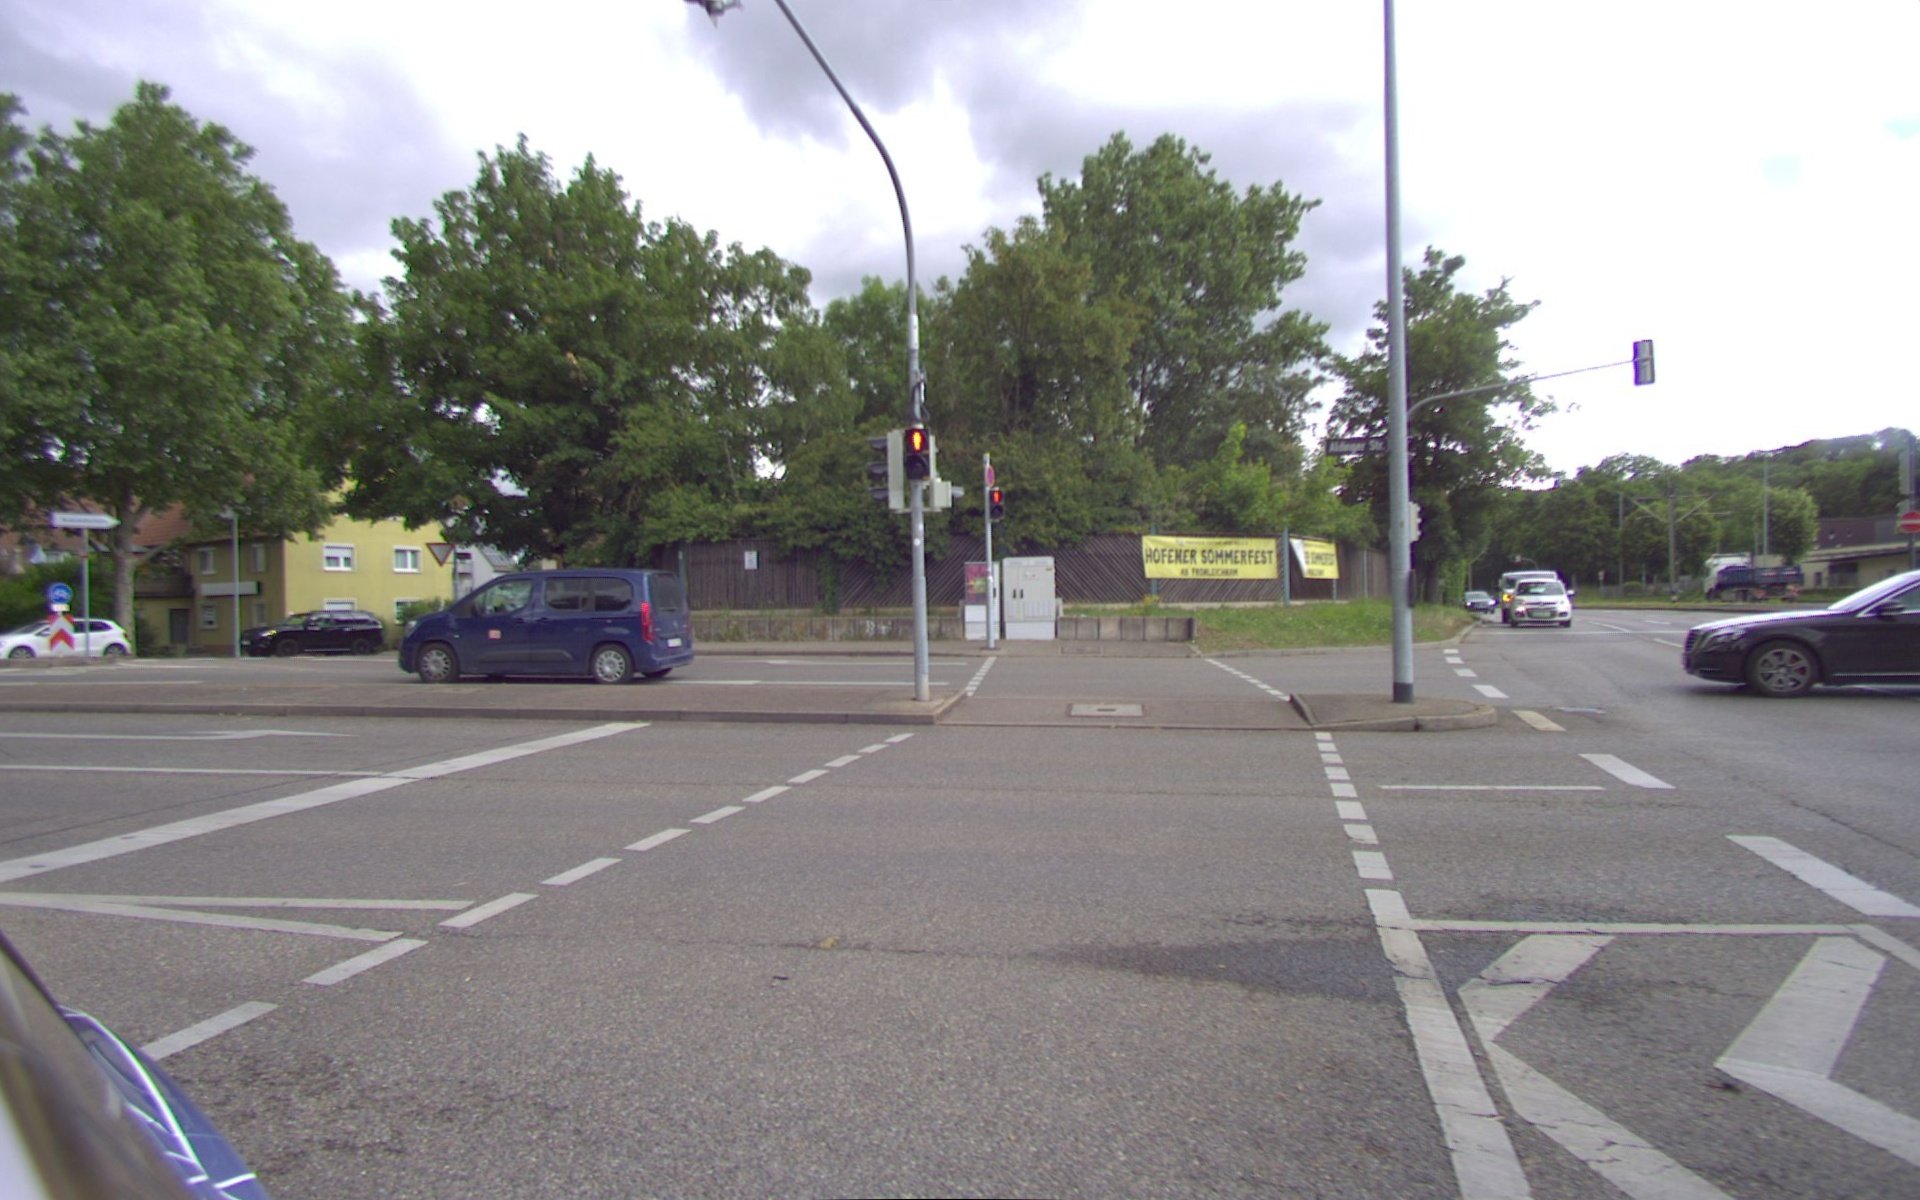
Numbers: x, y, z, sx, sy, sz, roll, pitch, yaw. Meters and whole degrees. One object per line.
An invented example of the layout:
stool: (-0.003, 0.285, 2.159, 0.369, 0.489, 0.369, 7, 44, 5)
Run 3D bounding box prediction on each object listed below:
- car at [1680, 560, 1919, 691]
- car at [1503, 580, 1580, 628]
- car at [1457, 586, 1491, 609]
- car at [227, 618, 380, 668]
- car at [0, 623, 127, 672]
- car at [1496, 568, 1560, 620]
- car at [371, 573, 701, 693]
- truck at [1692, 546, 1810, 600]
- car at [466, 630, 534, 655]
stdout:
car: (11.513, 0.261, 11.764, 4.979, 1.461, 1.811, -1, 0, 32)
car: (18.425, 0.103, 32.212, 1.711, 1.429, 3.967, 0, 1, 24)
car: (35.060, -0.187, 69.140, 1.989, 1.547, 3.965, 0, 1, 26)
car: (-24.686, 1.591, 38.239, 1.804, 1.664, 4.547, -2, 0, 29)
car: (-28.222, 1.447, 31.014, 1.800, 1.330, 3.775, -2, 0, 22)
car: (21.345, -0.216, 38.154, 1.800, 1.839, 3.965, -2, 0, 26)
car: (-6.500, 0.480, 15.784, 4.421, 1.718, 1.828, -1, 1, 6)
truck: (55.856, -1.818, 71.802, 3.405, 3.586, 8.659, 0, 0, 14)
car: (-27.144, 2.493, 59.721, 3.790, 1.352, 1.714, -2, 0, 29)
